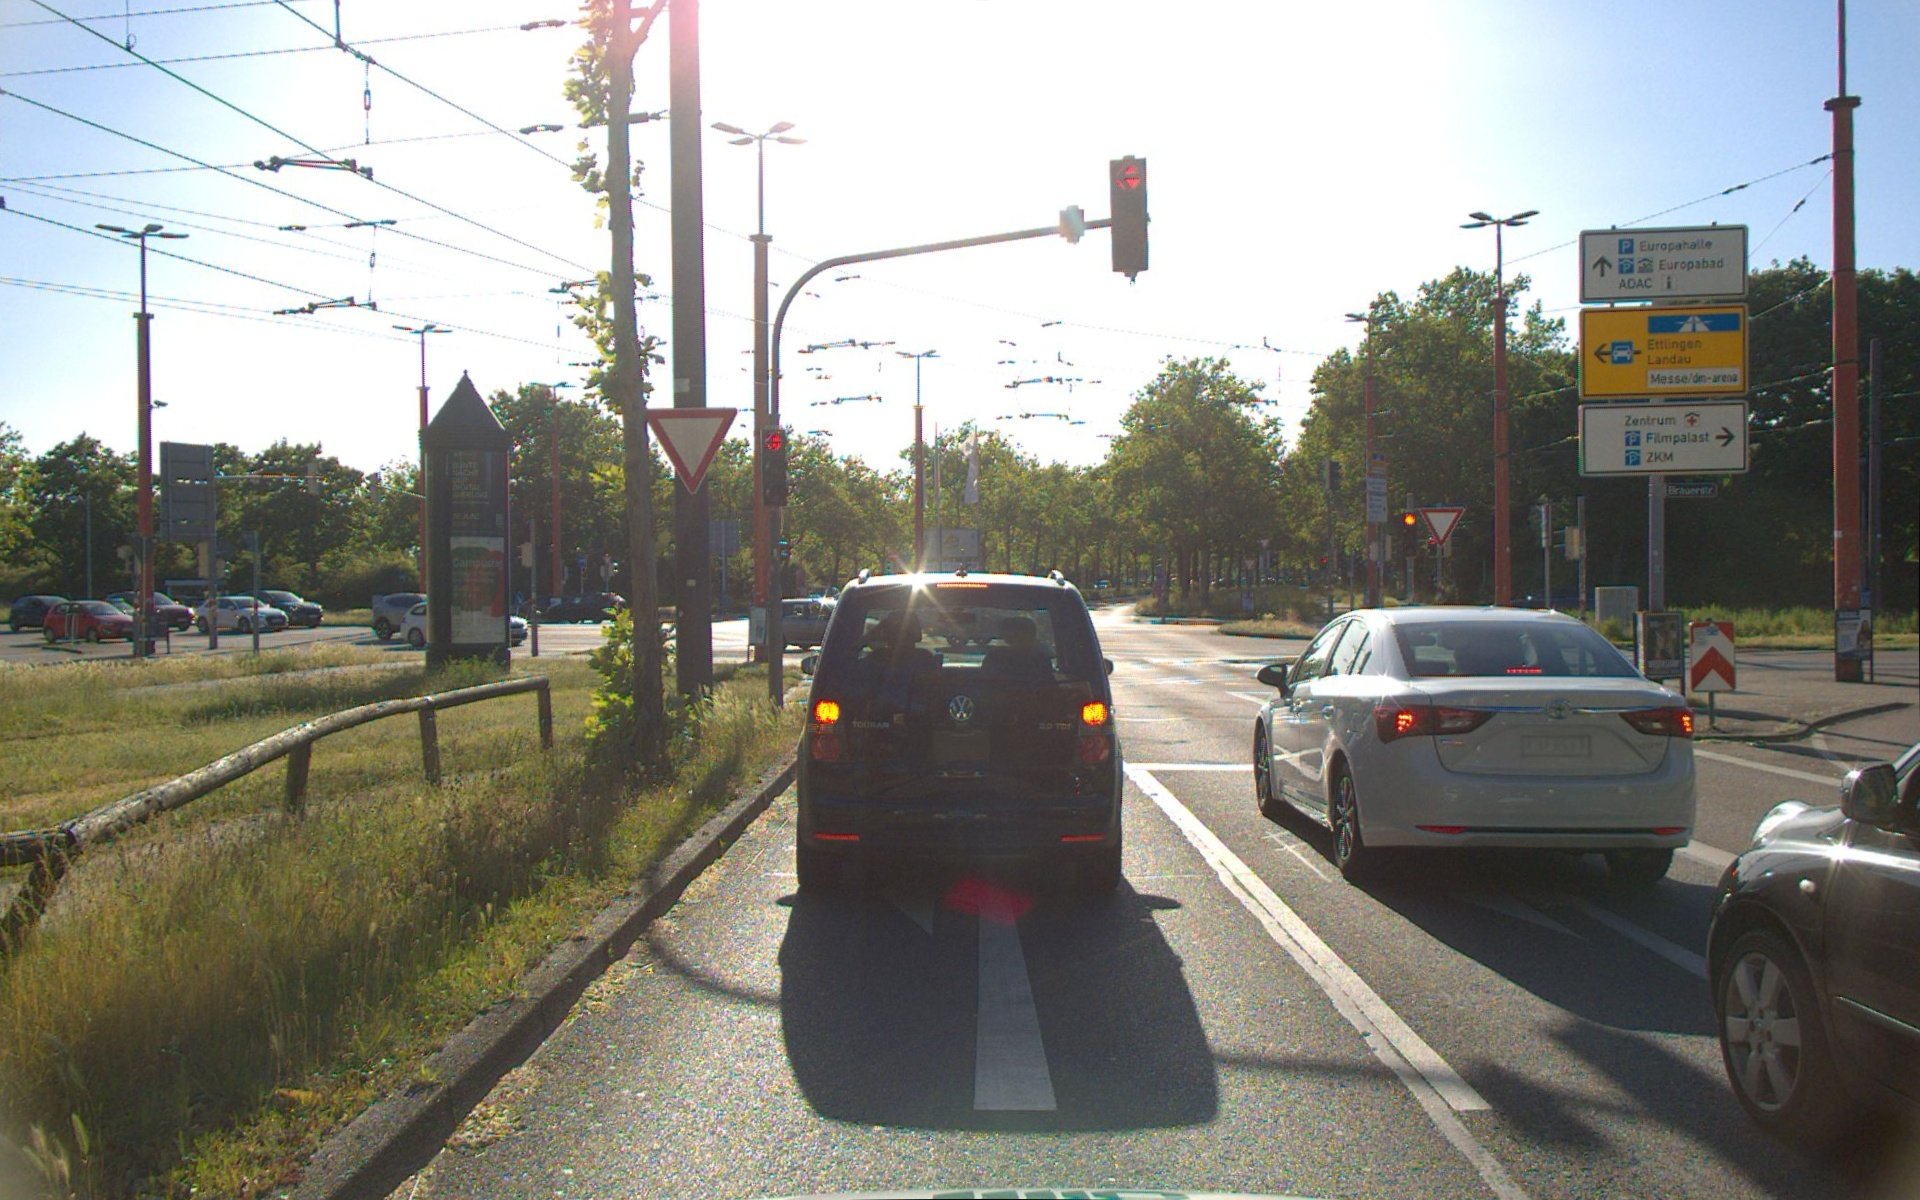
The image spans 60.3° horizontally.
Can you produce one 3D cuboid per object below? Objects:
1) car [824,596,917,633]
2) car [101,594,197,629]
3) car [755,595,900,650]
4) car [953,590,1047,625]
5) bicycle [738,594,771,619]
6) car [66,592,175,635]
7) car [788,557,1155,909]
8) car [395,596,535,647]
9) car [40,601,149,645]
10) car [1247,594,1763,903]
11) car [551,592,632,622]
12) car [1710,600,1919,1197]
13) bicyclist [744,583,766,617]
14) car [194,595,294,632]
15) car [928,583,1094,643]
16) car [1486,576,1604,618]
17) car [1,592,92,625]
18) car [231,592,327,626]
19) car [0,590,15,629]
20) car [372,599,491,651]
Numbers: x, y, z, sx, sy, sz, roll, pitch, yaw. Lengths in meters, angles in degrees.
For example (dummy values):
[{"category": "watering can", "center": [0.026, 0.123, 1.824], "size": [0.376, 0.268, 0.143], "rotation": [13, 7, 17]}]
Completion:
[{"category": "car", "center": [-3.877, 0.612, 71.614], "size": [3.715, 1.537, 1.656], "rotation": [0, 0, 23]}, {"category": "car", "center": [-34.633, 0.465, 70.625], "size": [4.060, 1.440, 1.542], "rotation": [0, 0, 26]}, {"category": "car", "center": [-3.735, 0.596, 46.548], "size": [3.755, 1.466, 1.655], "rotation": [0, 0, 27]}, {"category": "car", "center": [1.789, 0.330, 73.262], "size": [3.837, 1.483, 1.655], "rotation": [0, 0, 26]}, {"category": "bicycle", "center": [-11.881, 0.370, 95.825], "size": [0.955, 1.413, 2.982], "rotation": [0, 0, 12]}, {"category": "car", "center": [-34.060, 0.529, 67.078], "size": [4.541, 1.676, 1.753], "rotation": [0, 0, 30]}, {"category": "car", "center": [0.069, 0.636, 9.955], "size": [1.703, 1.630, 4.326], "rotation": [1, 0, 0]}, {"category": "car", "center": [-15.918, 0.652, 53.090], "size": [4.536, 1.546, 1.654], "rotation": [0, 0, 30]}, {"category": "car", "center": [-32.146, 0.818, 61.419], "size": [4.107, 1.546, 1.654], "rotation": [0, 0, 30]}, {"category": "car", "center": [3.016, 0.729, 10.177], "size": [1.762, 1.465, 4.326], "rotation": [1, 0, 0]}, {"category": "car", "center": [-18.656, 0.342, 83.756], "size": [3.837, 1.483, 1.655], "rotation": [0, 0, 26]}, {"category": "car", "center": [3.138, 0.742, 3.481], "size": [1.544, 1.465, 3.441], "rotation": [1, 0, 0]}, {"category": "bicyclist", "center": [-11.874, 0.000, 95.866], "size": [0.955, 1.937, 1.051], "rotation": [0, 0, 12]}, {"category": "car", "center": [-29.405, 0.534, 67.918], "size": [4.060, 1.440, 1.542], "rotation": [0, 0, 26]}, {"category": "car", "center": [1.456, 0.346, 47.807], "size": [4.541, 1.676, 1.654], "rotation": [0, 0, 30]}, {"category": "car", "center": [22.131, -0.132, 62.597], "size": [4.055, 1.537, 1.654], "rotation": [0, 0, 28]}, {"category": "car", "center": [-40.872, 0.371, 73.986], "size": [4.060, 1.440, 1.542], "rotation": [0, 0, 26]}, {"category": "car", "center": [-29.469, 0.375, 71.541], "size": [4.060, 1.440, 1.542], "rotation": [0, 0, 26]}, {"category": "car", "center": [-43.684, 0.380, 72.357], "size": [4.535, 1.676, 1.755], "rotation": [0, 0, 24]}, {"category": "car", "center": [-18.623, 0.858, 58.256], "size": [4.248, 1.721, 1.653], "rotation": [0, 0, 32]}]
